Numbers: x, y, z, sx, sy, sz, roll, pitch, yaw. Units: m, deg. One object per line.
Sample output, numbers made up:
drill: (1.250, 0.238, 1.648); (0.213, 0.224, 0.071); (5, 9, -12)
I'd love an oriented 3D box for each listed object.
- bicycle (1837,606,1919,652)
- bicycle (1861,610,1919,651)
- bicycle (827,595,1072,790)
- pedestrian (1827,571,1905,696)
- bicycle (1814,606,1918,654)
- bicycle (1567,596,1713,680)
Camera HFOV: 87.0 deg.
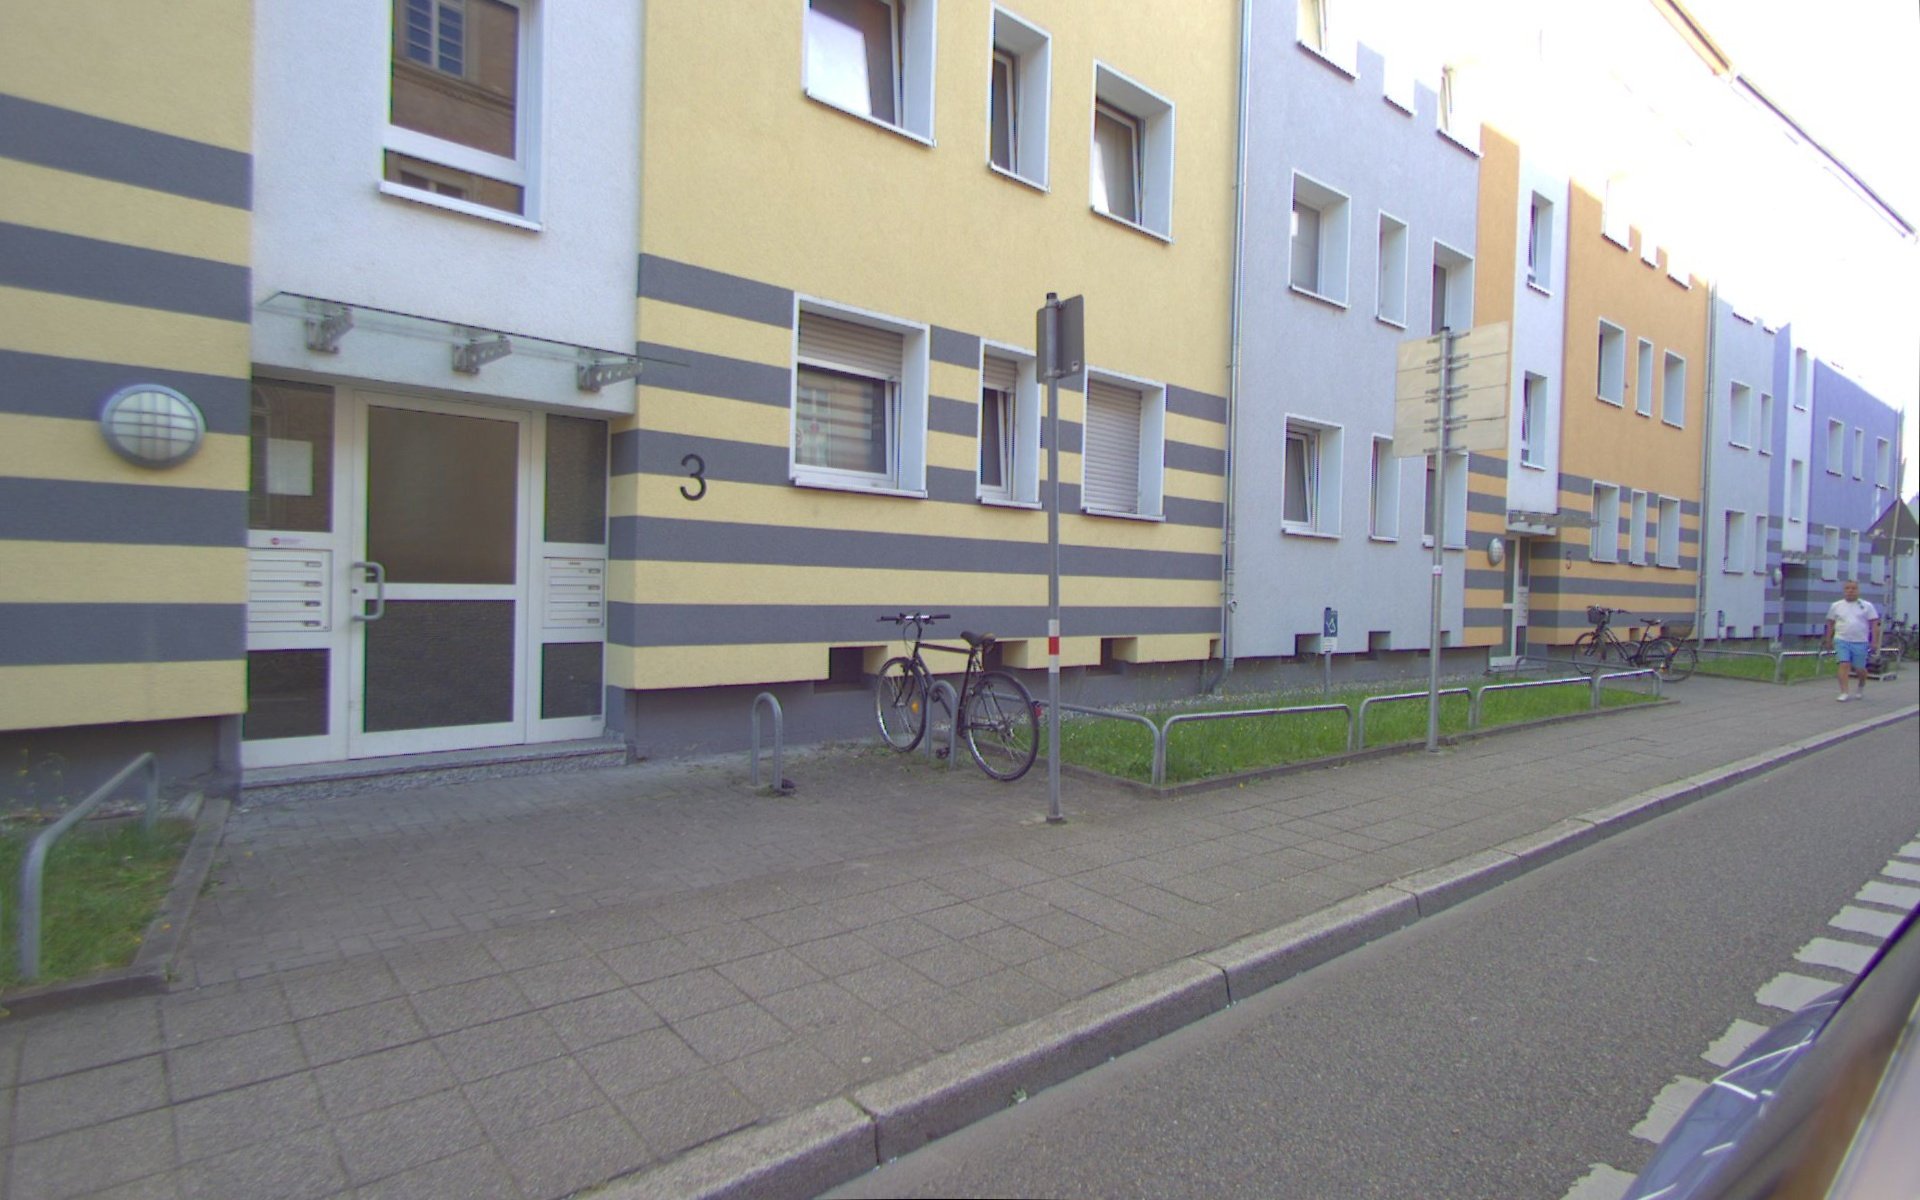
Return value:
bicycle: (23.349, 0.728, 25.481); (0.572, 1.007, 1.779); (1, 3, -33)
bicycle: (24.052, 0.784, 25.588); (0.572, 0.950, 1.779); (1, 3, -33)
bicycle: (-0.125, 0.556, 6.930); (1.773, 1.061, 0.574); (5, 4, 45)
pedestrian: (12.923, 0.457, 14.436); (0.819, 1.692, 0.644); (1, 2, -39)
bicycle: (22.186, 0.725, 24.811); (0.572, 1.007, 1.779); (1, 3, -33)
bicycle: (10.688, 0.565, 15.952); (0.574, 1.138, 1.775); (0, 4, -42)
